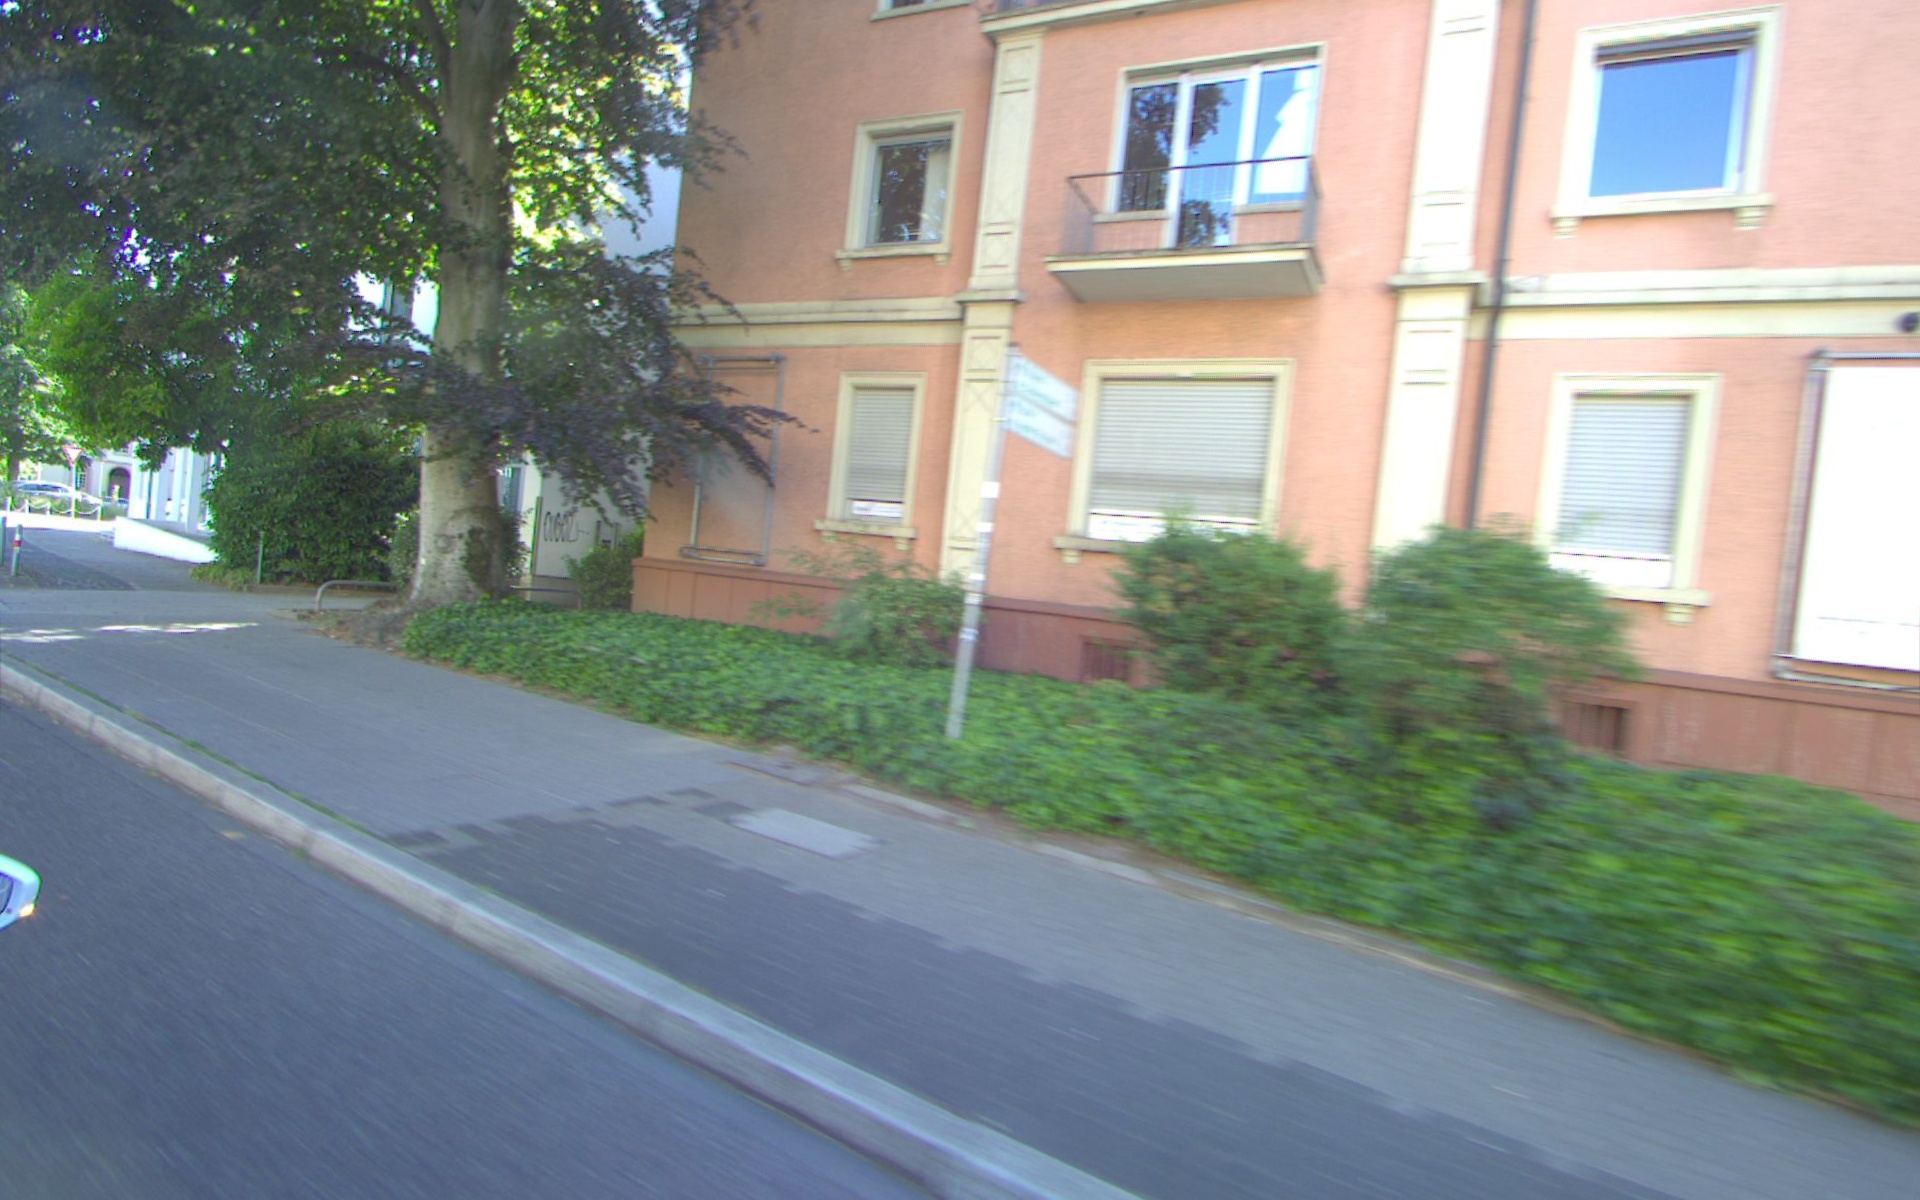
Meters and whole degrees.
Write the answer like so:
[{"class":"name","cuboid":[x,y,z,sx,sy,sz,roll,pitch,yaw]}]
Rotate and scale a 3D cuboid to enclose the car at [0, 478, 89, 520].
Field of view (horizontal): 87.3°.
[{"class":"car","cuboid":[-47.978,-5.251,51.999,1.888,1.665,3.997,7,1,22]}]
